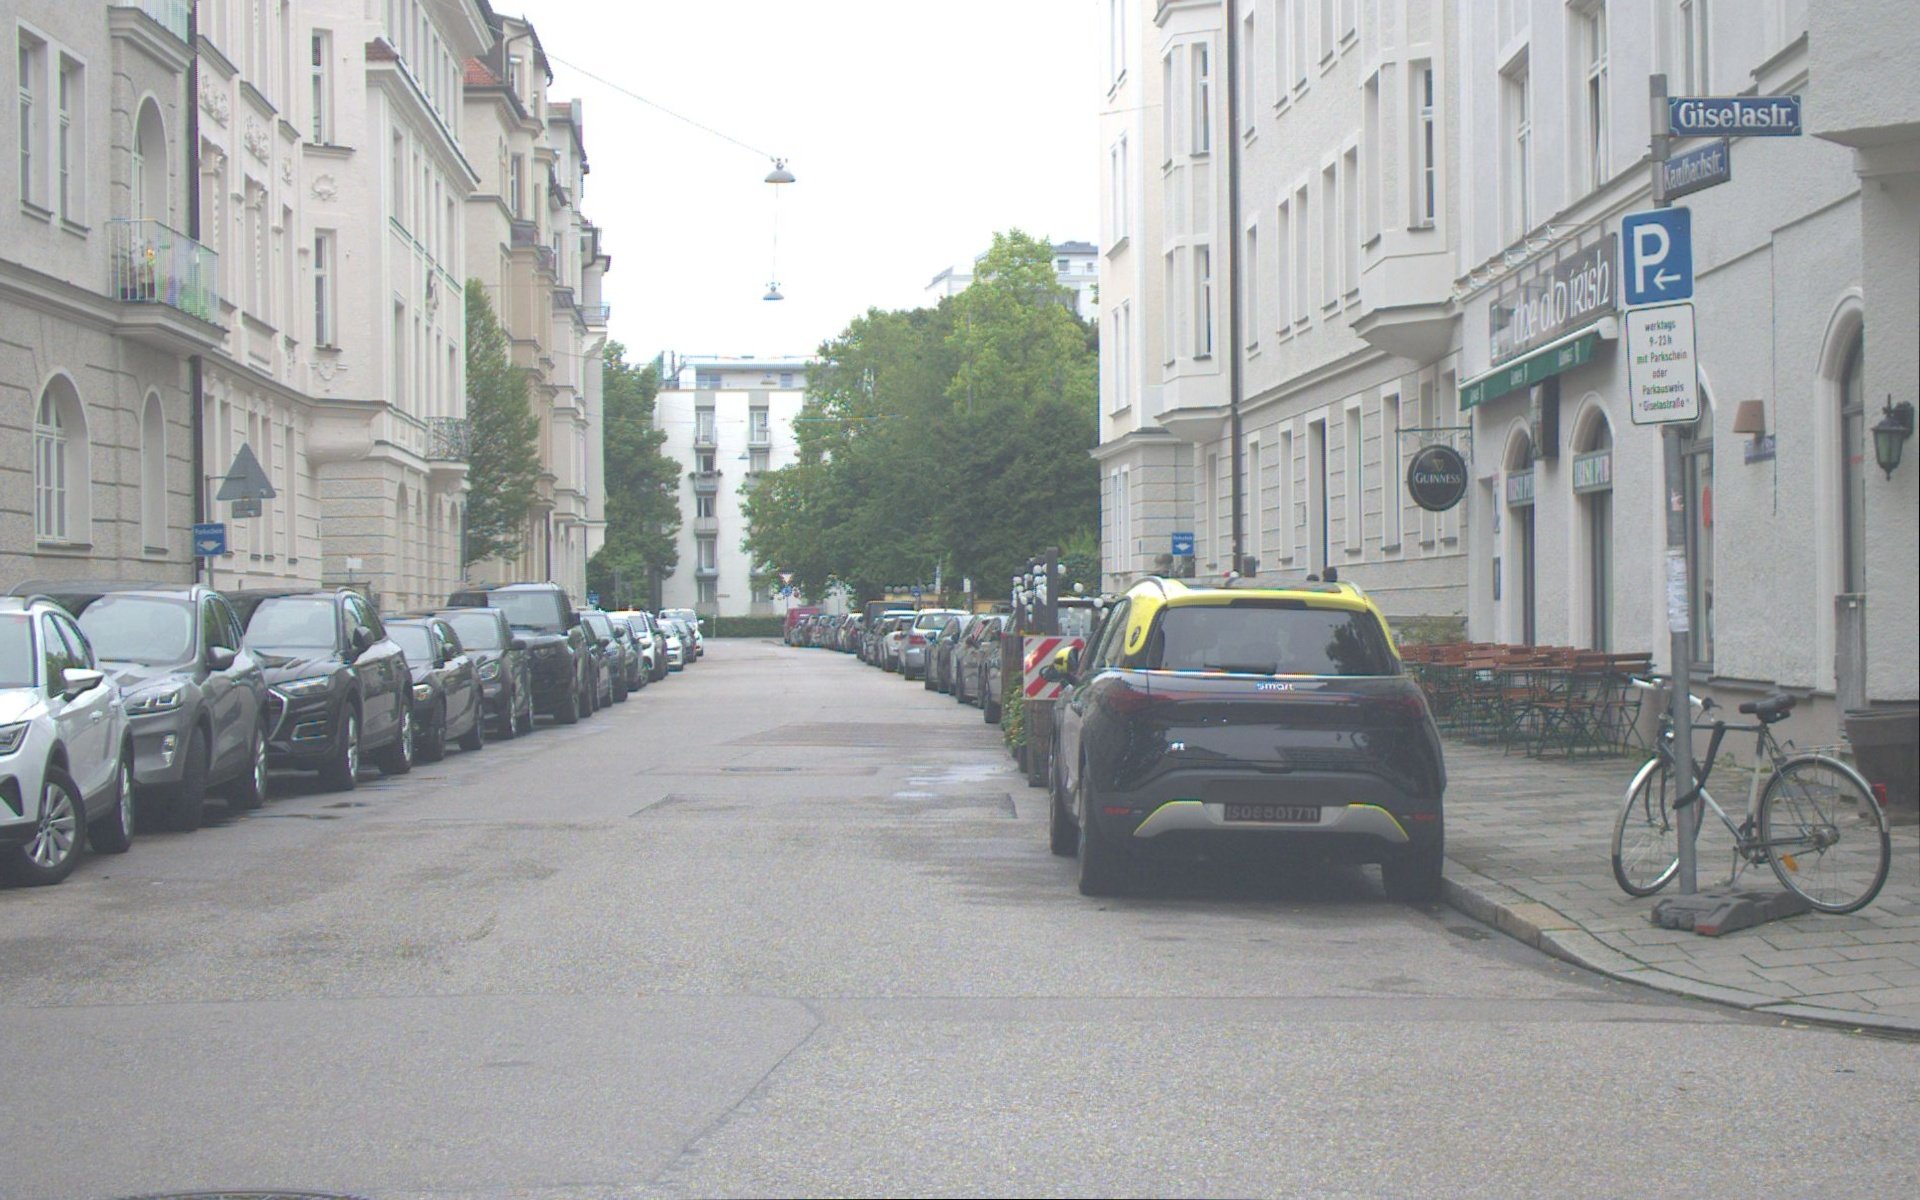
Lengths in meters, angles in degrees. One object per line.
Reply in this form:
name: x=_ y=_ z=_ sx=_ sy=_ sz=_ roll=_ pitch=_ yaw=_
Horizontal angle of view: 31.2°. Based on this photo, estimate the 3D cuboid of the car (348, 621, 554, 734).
car: x=-5.997 y=0.889 z=40.906 sx=1.906 sy=1.218 sz=4.000 roll=-1 pitch=0 yaw=-1

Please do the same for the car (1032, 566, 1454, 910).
car: x=1.425 y=0.669 z=18.872 sx=1.820 sy=1.630 sz=4.289 roll=1 pitch=0 yaw=-1

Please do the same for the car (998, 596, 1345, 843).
car: x=1.349 y=0.748 z=23.851 sx=1.976 sy=1.493 sz=4.637 roll=1 pitch=0 yaw=-1

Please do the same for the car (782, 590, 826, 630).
car: x=-7.802 y=0.469 z=172.041 sx=1.993 sy=1.975 sz=4.894 roll=0 pitch=0 yaw=-5

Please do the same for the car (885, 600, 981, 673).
car: x=-0.639 y=0.791 z=76.955 sx=1.906 sy=1.571 sz=4.000 roll=-1 pitch=0 yaw=-4

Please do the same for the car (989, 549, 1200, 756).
car: x=1.295 y=0.496 z=34.667 sx=1.820 sy=1.917 sz=4.183 roll=1 pitch=0 yaw=-1

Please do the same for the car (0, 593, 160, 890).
car: x=-5.700 y=0.707 z=19.078 sx=1.993 sy=1.468 sz=4.219 roll=-1 pitch=0 yaw=-7

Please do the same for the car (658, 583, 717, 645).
car: x=-9.005 y=0.454 z=113.824 sx=1.846 sy=2.007 sz=4.000 roll=-1 pitch=0 yaw=-3

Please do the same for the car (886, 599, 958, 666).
car: x=-1.182 y=0.979 z=105.751 sx=1.993 sy=1.975 sz=4.893 roll=0 pitch=0 yaw=-3

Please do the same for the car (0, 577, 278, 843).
car: x=-5.966 y=0.695 z=23.792 sx=1.993 sy=1.670 sz=4.013 roll=-1 pitch=0 yaw=-5

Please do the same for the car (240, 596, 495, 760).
car: x=-5.935 y=0.746 z=34.857 sx=1.925 sy=1.541 sz=4.000 roll=0 pitch=0 yaw=-1

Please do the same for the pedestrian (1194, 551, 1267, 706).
pedestrian: x=3.281 y=0.340 z=41.809 sx=0.778 sy=1.845 sz=1.023 roll=-1 pitch=0 yaw=-1

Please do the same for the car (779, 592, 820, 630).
car: x=-8.570 y=0.586 z=183.153 sx=1.993 sy=1.975 sz=4.894 roll=0 pitch=0 yaw=-5

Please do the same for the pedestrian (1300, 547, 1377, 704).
pedestrian: x=4.539 y=0.300 z=41.286 sx=0.778 sy=1.845 sz=1.023 roll=-1 pitch=0 yaw=-1

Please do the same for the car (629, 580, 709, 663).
car: x=-7.204 y=0.511 z=85.346 sx=1.846 sy=2.007 sz=4.000 roll=-1 pitch=0 yaw=-3

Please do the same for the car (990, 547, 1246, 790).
car: x=1.257 y=0.531 z=29.124 sx=1.820 sy=1.864 sz=4.289 roll=1 pitch=0 yaw=-1

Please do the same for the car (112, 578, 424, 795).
car: x=-5.716 y=0.663 z=28.891 sx=1.993 sy=1.670 sz=4.289 roll=-1 pitch=0 yaw=-4

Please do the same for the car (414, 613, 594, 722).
car: x=-6.001 y=0.867 z=45.646 sx=1.906 sy=1.324 sz=4.000 roll=-1 pitch=0 yaw=-1

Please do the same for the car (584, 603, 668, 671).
car: x=-7.248 y=0.789 z=74.930 sx=1.733 sy=1.415 sz=4.001 roll=-1 pitch=0 yaw=-5

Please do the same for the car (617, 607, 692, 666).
car: x=-8.507 y=1.005 z=95.997 sx=1.993 sy=1.568 sz=4.001 roll=-1 pitch=0 yaw=-4

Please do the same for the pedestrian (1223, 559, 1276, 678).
pedestrian: x=4.526 y=0.282 z=53.720 sx=0.778 sy=1.845 sz=0.859 roll=-1 pitch=0 yaw=6

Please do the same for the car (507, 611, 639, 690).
car: x=-6.418 y=0.821 z=57.408 sx=1.906 sy=1.218 sz=4.000 roll=-1 pitch=0 yaw=-2

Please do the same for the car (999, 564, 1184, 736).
car: x=1.447 y=0.531 z=39.368 sx=1.993 sy=1.850 sz=4.345 roll=0 pitch=0 yaw=1

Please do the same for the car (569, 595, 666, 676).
car: x=-6.842 y=0.690 z=68.981 sx=1.820 sy=1.568 sz=4.001 roll=-1 pitch=0 yaw=-4

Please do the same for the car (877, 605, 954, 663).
car: x=-1.158 y=0.857 z=87.673 sx=1.729 sy=1.413 sz=3.852 roll=-1 pitch=0 yaw=-4

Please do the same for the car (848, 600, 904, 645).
car: x=-3.253 y=0.859 z=132.771 sx=1.950 sy=1.646 sz=4.000 roll=-2 pitch=0 yaw=-4

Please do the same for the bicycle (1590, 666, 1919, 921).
bicycle: x=3.555 y=0.822 z=15.219 sx=0.539 sy=0.995 sz=1.756 roll=-4 pitch=2 yaw=-25
